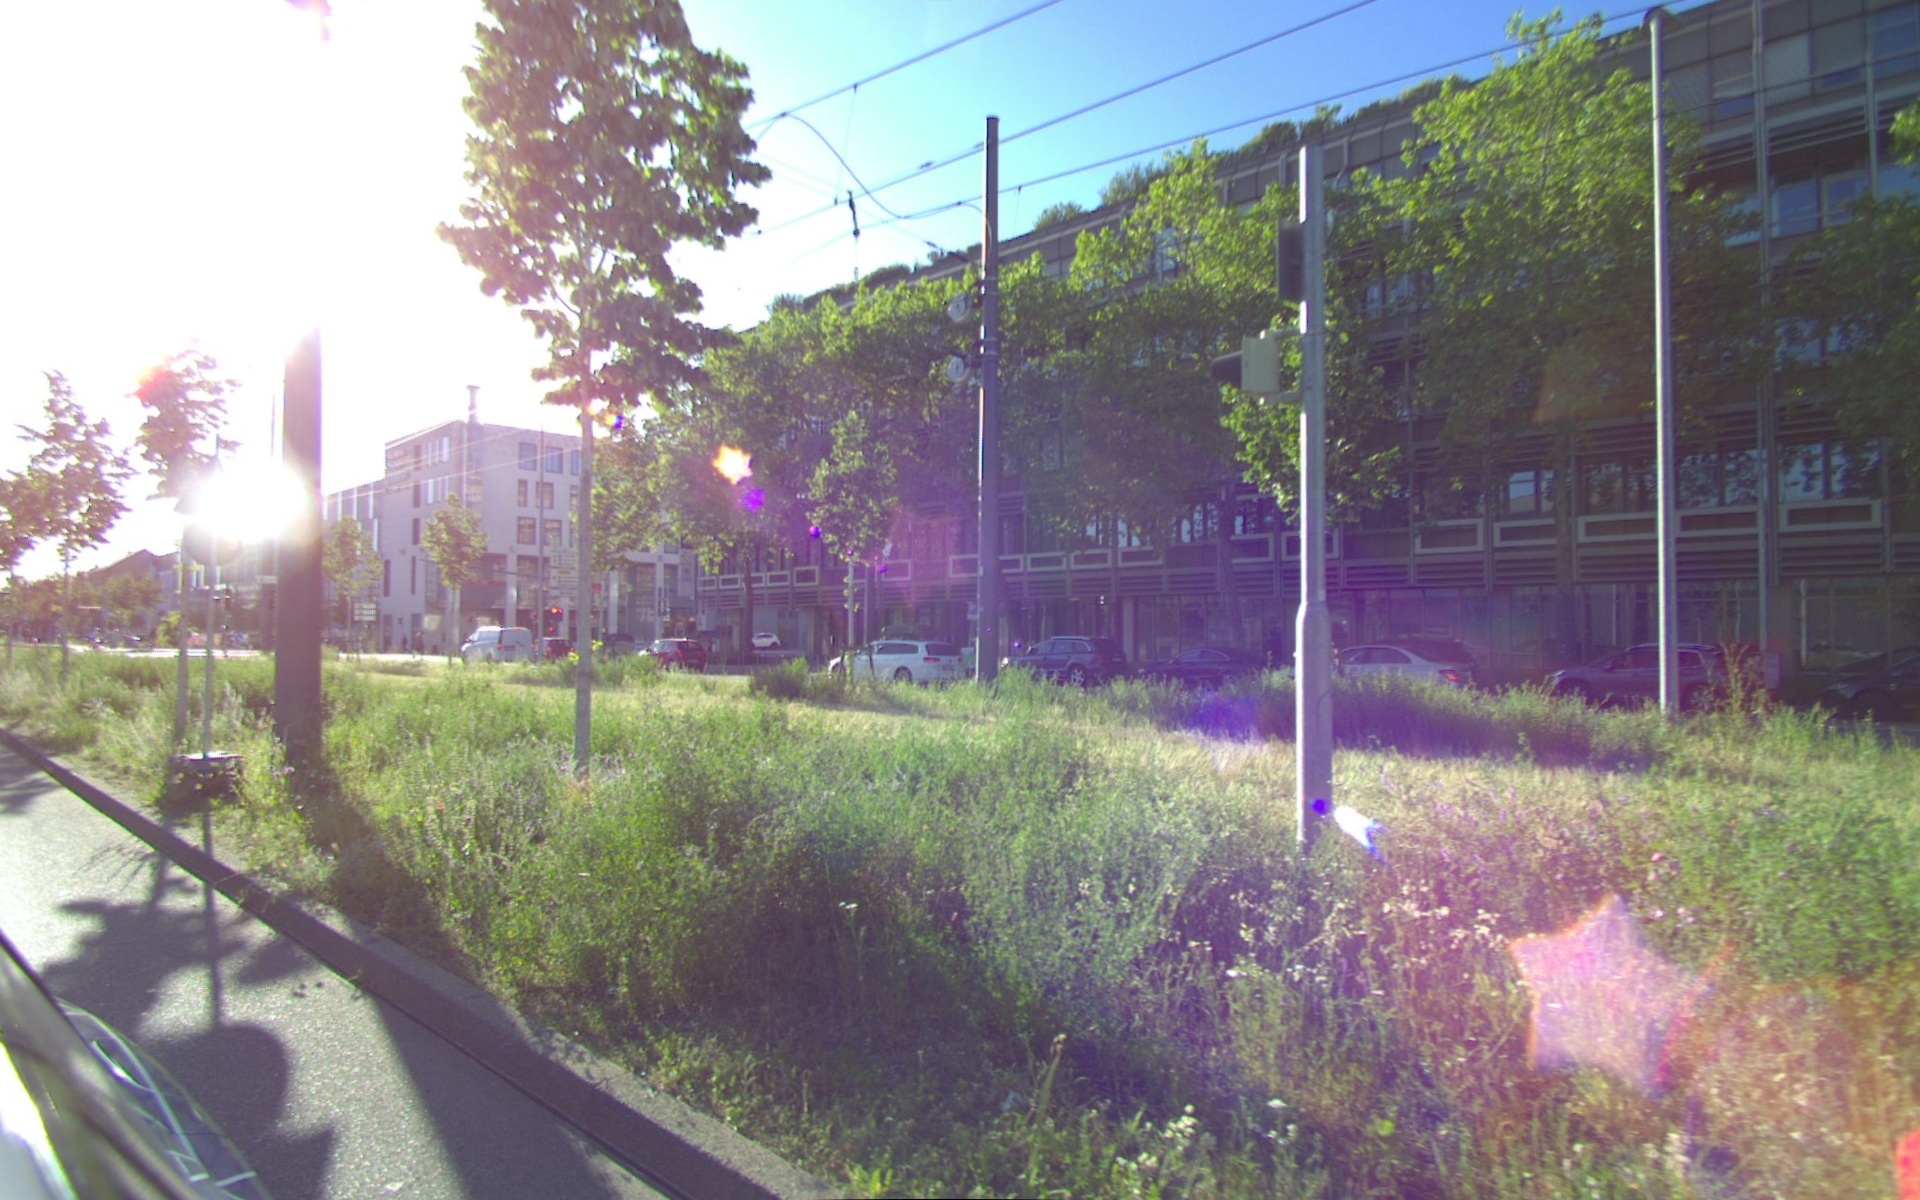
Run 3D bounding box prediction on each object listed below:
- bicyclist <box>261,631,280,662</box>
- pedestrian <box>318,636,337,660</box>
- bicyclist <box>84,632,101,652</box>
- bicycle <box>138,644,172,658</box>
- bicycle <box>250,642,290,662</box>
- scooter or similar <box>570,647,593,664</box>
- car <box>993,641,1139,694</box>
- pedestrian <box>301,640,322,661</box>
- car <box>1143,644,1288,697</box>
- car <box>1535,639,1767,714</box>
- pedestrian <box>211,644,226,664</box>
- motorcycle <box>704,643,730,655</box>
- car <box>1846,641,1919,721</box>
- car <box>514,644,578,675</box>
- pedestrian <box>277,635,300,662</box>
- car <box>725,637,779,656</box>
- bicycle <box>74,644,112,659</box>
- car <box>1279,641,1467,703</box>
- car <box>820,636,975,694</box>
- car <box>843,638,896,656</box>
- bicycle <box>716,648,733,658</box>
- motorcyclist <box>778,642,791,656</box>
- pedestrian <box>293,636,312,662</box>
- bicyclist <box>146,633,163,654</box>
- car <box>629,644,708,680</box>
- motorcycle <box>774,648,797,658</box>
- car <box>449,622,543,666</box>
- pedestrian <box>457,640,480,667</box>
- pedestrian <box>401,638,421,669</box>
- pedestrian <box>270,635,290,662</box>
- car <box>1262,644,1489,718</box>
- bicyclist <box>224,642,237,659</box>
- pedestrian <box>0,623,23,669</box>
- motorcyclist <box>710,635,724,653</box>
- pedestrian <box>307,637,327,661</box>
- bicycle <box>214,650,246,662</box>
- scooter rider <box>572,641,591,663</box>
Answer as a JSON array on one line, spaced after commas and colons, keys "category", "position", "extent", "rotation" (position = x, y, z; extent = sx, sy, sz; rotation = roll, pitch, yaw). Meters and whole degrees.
[{"category": "bicyclist", "position": [-38.752, 2.612, 56.850], "extent": [0.774, 1.682, 0.702], "rotation": [2, -3, -41]}, {"category": "pedestrian", "position": [-53.939, 4.104, 86.310], "extent": [0.906, 2.029, 1.021], "rotation": [0, -2, 7]}, {"category": "bicyclist", "position": [-62.172, 3.015, 72.530], "extent": [0.806, 1.412, 0.831], "rotation": [-2, -2, 44]}, {"category": "bicycle", "position": [-59.686, 3.804, 75.030], "extent": [1.948, 1.004, 0.650], "rotation": [1, -3, -43]}, {"category": "bicycle", "position": [-38.757, 2.896, 56.847], "extent": [1.772, 1.102, 0.710], "rotation": [2, -3, -41]}, {"category": "scooter or similar", "position": [-27.184, 4.000, 72.689], "extent": [0.644, 1.184, 1.462], "rotation": [-1, -2, 44]}, {"category": "car", "position": [3.699, 2.331, 35.911], "extent": [4.864, 1.693, 1.974], "rotation": [-1, -2, 40]}, {"category": "pedestrian", "position": [-52.985, 4.099, 82.689], "extent": [0.994, 1.663, 0.948], "rotation": [0, -2, 3]}, {"category": "car", "position": [7.978, 2.157, 31.819], "extent": [1.971, 1.532, 4.002], "rotation": [1, -3, -45]}, {"category": "car", "position": [16.609, 1.810, 24.468], "extent": [4.363, 1.645, 1.889], "rotation": [-2, -5, 44]}, {"category": "pedestrian", "position": [-57.851, 4.210, 78.948], "extent": [0.828, 1.583, 0.947], "rotation": [2, -3, -41]}, {"category": "motorcycle", "position": [-20.014, 4.025, 83.457], "extent": [1.928, 0.976, 0.759], "rotation": [2, -2, -38]}, {"category": "car", "position": [20.745, 1.654, 20.404], "extent": [4.277, 1.608, 1.840], "rotation": [-2, -4, 43]}, {"category": "car", "position": [-21.941, 3.142, 53.558], "extent": [1.818, 1.497, 3.883], "rotation": [6, -6, -43]}, {"category": "pedestrian", "position": [-54.457, 3.947, 82.046], "extent": [1.049, 2.145, 1.096], "rotation": [0, -2, 4]}, {"category": "car", "position": [-19.593, 4.402, 95.285], "extent": [4.479, 1.725, 2.129], "rotation": [2, -2, -39]}, {"category": "bicycle", "position": [-62.128, 3.672, 72.529], "extent": [0.806, 0.986, 2.047], "rotation": [-2, -2, 44]}, {"category": "car", "position": [11.616, 1.963, 28.639], "extent": [4.620, 1.569, 1.726], "rotation": [-2, -2, 41]}, {"category": "car", "position": [-1.938, 1.893, 30.327], "extent": [4.689, 1.606, 1.821], "rotation": [-2, -3, 40]}, {"category": "car", "position": [-8.759, 4.508, 97.883], "extent": [4.719, 1.675, 2.203], "rotation": [2, -3, -43]}, {"category": "bicycle", "position": [-24.675, 5.548, 106.068], "extent": [0.650, 1.119, 2.479], "rotation": [2, -3, -41]}, {"category": "motorcyclist", "position": [-19.084, 5.349, 110.253], "extent": [1.039, 1.482, 0.904], "rotation": [0, -2, 41]}, {"category": "pedestrian", "position": [-55.542, 4.111, 85.448], "extent": [0.888, 2.140, 0.944], "rotation": [0, -2, 9]}, {"category": "bicyclist", "position": [-59.701, 3.241, 75.050], "extent": [0.927, 1.556, 0.650], "rotation": [1, -3, -42]}, {"category": "car", "position": [-12.902, 2.736, 44.782], "extent": [3.575, 1.464, 1.692], "rotation": [-2, -6, 43]}, {"category": "motorcycle", "position": [-19.022, 5.750, 110.196], "extent": [2.675, 1.003, 0.904], "rotation": [0, -2, 41]}, {"category": "car", "position": [-23.280, 2.216, 50.684], "extent": [5.709, 2.029, 2.234], "rotation": [-2, -5, 43]}, {"category": "pedestrian", "position": [-29.761, 3.227, 61.283], "extent": [0.897, 1.561, 0.912], "rotation": [-2, -2, 38]}, {"category": "pedestrian", "position": [-31.346, 3.046, 57.821], "extent": [0.857, 1.757, 0.729], "rotation": [-2, -2, 40]}, {"category": "pedestrian", "position": [-55.745, 3.979, 82.971], "extent": [0.887, 2.140, 0.945], "rotation": [0, -2, 6]}, {"category": "car", "position": [9.596, 1.817, 23.622], "extent": [4.582, 1.527, 1.739], "rotation": [-2, -4, 42]}, {"category": "bicyclist", "position": [-58.927, 4.066, 81.723], "extent": [0.828, 1.367, 0.807], "rotation": [1, -2, -39]}, {"category": "pedestrian", "position": [-40.904, 1.974, 43.331], "extent": [1.015, 1.925, 1.036], "rotation": [-2, -3, 42]}, {"category": "motorcyclist", "position": [-20.063, 3.610, 83.435], "extent": [0.867, 1.495, 0.759], "rotation": [2, -2, -38]}, {"category": "pedestrian", "position": [-53.956, 4.104, 84.925], "extent": [0.907, 2.029, 1.020], "rotation": [0, -2, 10]}, {"category": "bicycle", "position": [-58.918, 4.510, 81.710], "extent": [2.044, 0.934, 0.807], "rotation": [1, -2, -39]}, {"category": "scooter rider", "position": [-27.187, 3.712, 72.700], "extent": [0.644, 1.556, 1.101], "rotation": [-1, -2, 44]}]
